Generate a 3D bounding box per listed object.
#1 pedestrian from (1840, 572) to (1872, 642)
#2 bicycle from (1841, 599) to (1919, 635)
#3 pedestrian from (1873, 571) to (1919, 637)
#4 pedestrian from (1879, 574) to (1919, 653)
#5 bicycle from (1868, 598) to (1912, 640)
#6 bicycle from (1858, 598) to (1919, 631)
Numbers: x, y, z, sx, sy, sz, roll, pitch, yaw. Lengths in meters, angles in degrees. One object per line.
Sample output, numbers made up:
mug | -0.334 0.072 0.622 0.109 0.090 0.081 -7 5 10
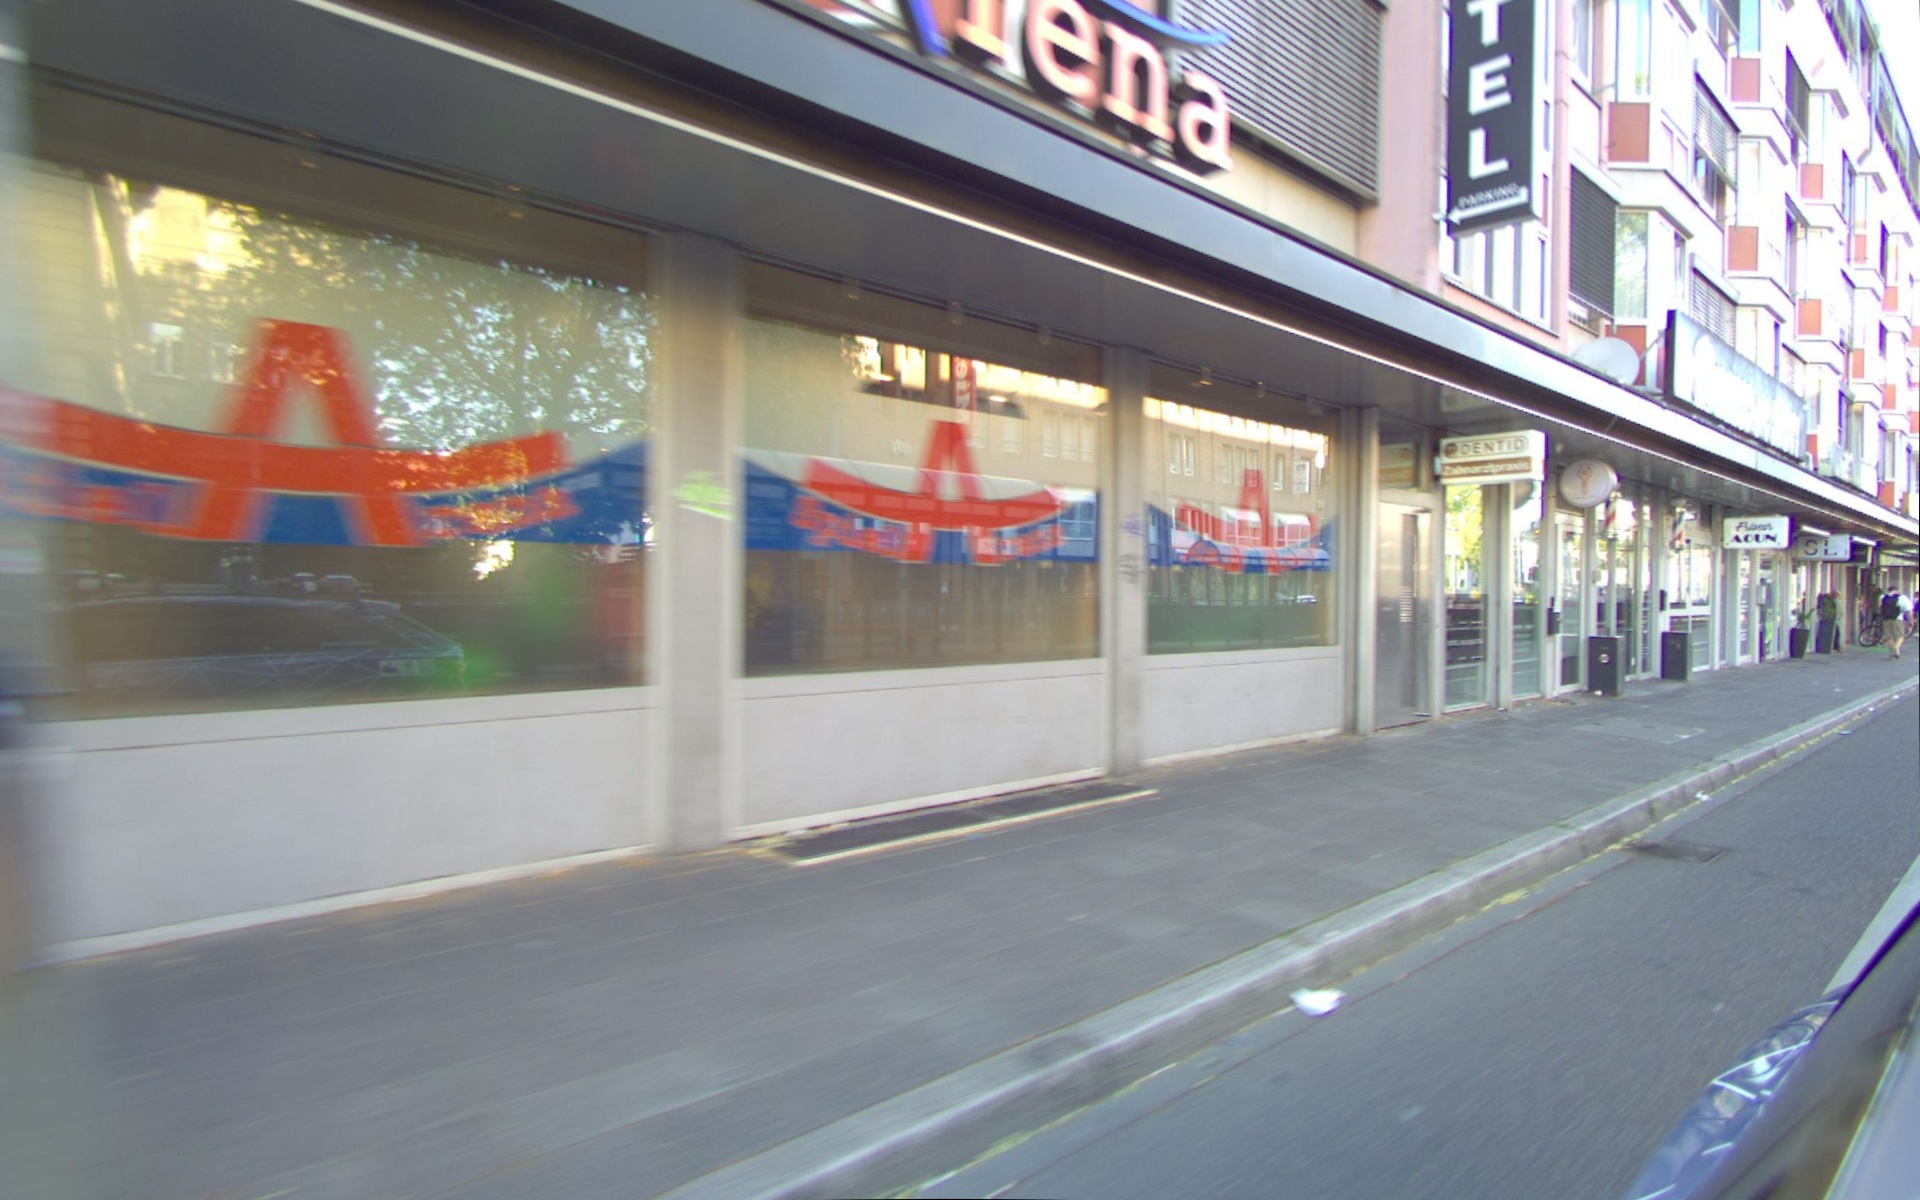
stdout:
pedestrian | 22.119 0.172 24.995 0.540 1.694 0.462 2 2 41
bicycle | 29.852 0.539 32.767 0.566 1.073 1.928 0 2 -41
pedestrian | 27.855 0.101 30.124 0.766 1.889 0.915 -1 3 -44
pedestrian | 21.711 0.294 23.158 1.042 1.743 0.800 -1 4 -40
bicycle | 26.064 0.521 28.359 1.763 1.079 0.659 -1 5 -42
bicycle | 30.965 0.475 33.522 0.496 0.985 1.737 0 4 -36
